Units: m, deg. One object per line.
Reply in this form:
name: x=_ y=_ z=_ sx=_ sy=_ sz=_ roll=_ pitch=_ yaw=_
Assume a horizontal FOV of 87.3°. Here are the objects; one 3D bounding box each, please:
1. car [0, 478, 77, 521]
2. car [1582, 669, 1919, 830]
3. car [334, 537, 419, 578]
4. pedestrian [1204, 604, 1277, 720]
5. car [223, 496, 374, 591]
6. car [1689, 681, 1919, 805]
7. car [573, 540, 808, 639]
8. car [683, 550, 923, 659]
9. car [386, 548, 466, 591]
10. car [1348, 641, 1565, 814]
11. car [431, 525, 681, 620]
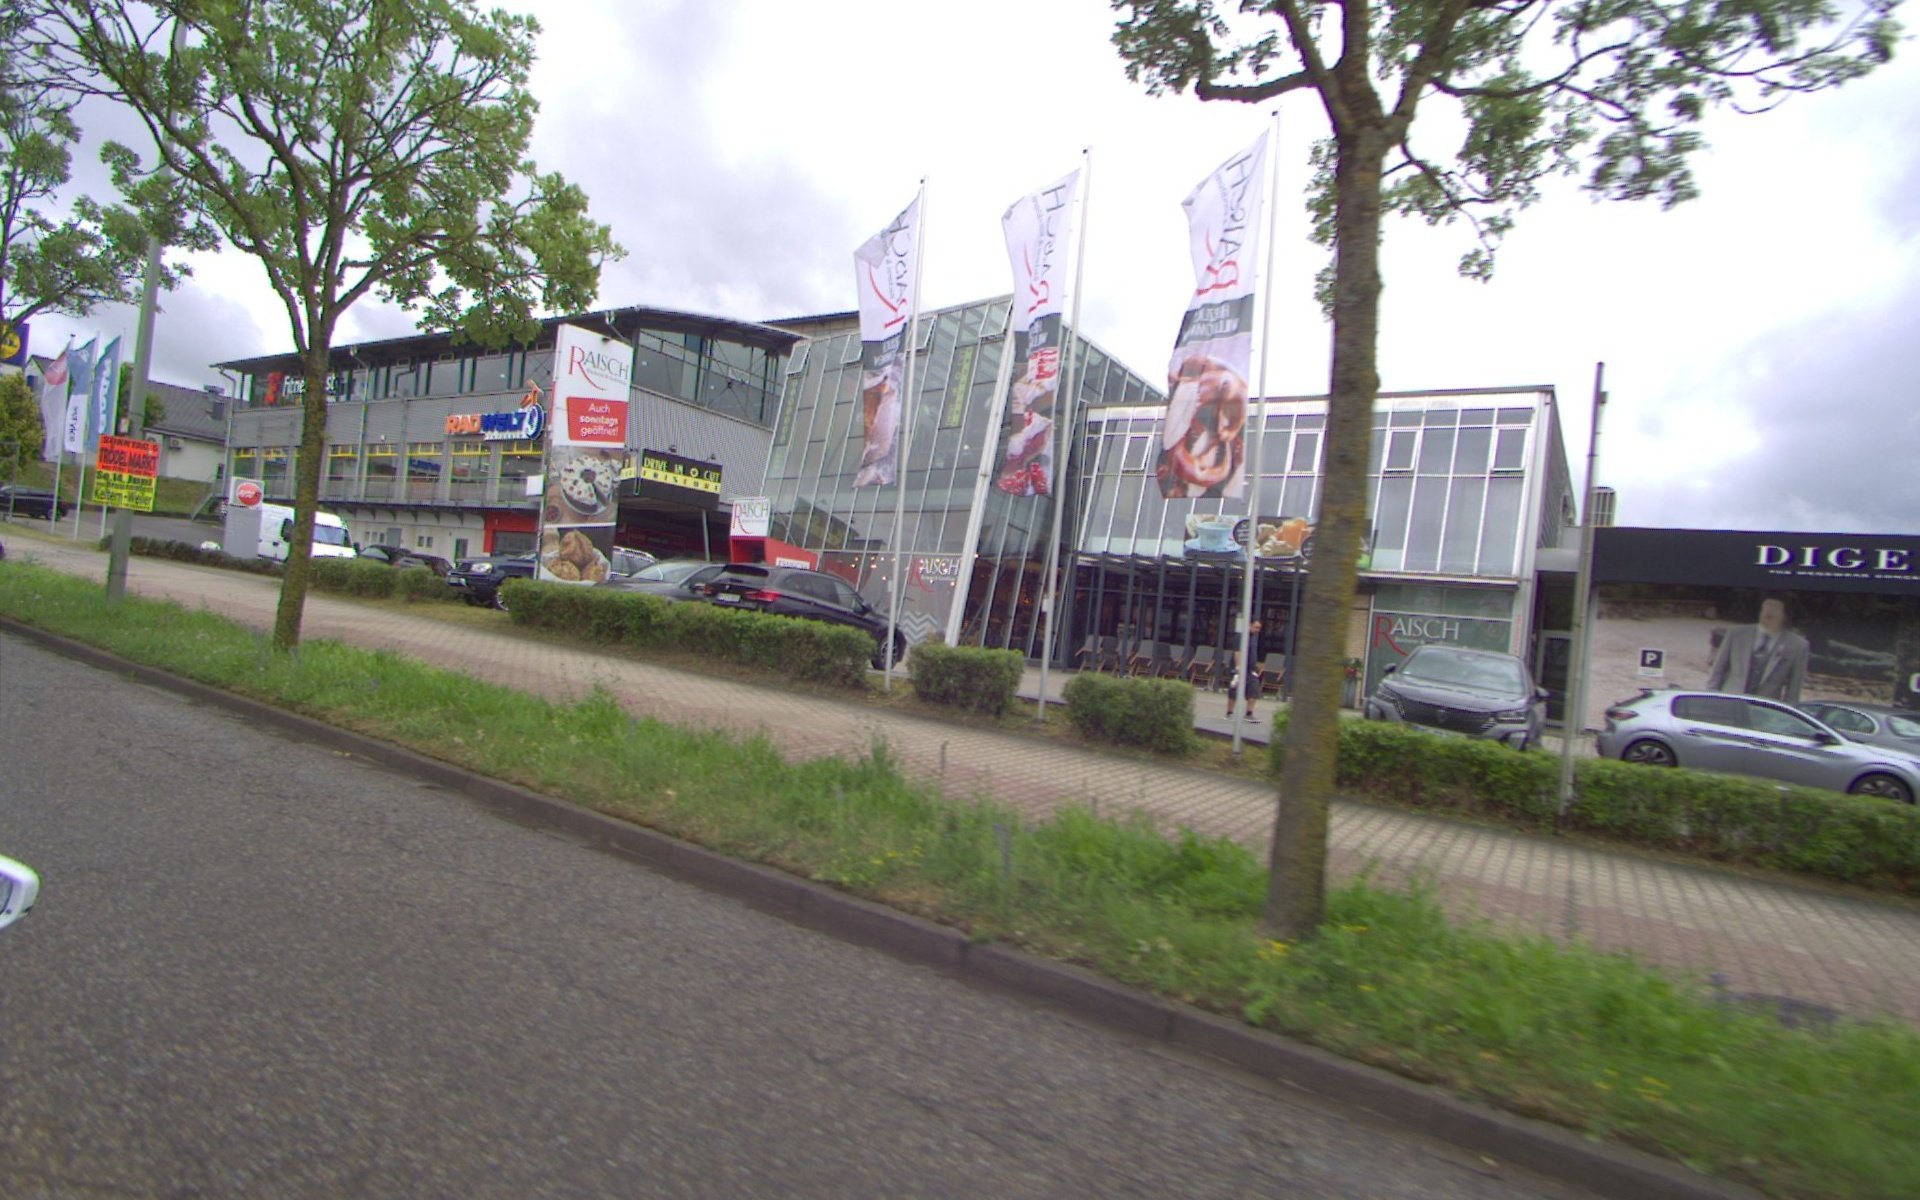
car: x=-43.362 y=-4.724 z=45.956 sx=1.764 sy=1.456 sz=4.104 roll=9 pitch=0 yaw=20
car: x=11.452 y=2.054 z=14.490 sx=4.056 sy=1.465 sz=1.760 roll=8 pitch=3 yaw=33
car: x=-25.642 y=-1.840 z=44.350 sx=1.711 sy=1.488 sz=4.250 roll=9 pitch=0 yaw=-10
pedestrian: x=4.676 y=1.033 z=16.755 sx=0.837 sy=1.810 sz=0.632 roll=7 pitch=-2 yaw=32
car: x=-23.004 y=-1.990 z=34.920 sx=5.590 sy=2.566 sz=2.230 roll=8 pitch=-1 yaw=35
car: x=15.259 y=2.406 z=17.200 sx=1.768 sy=1.415 sz=4.487 roll=4 pitch=2 yaw=-9
car: x=-5.158 y=-0.148 z=19.749 sx=1.799 sy=1.622 sz=4.165 roll=7 pitch=2 yaw=36
car: x=-2.697 y=0.119 z=18.124 sx=1.772 sy=1.622 sz=4.165 roll=7 pitch=2 yaw=36
car: x=-22.908 y=-1.315 z=43.336 sx=1.756 sy=1.488 sz=4.248 roll=9 pitch=0 yaw=-12
car: x=6.174 y=1.359 z=12.248 sx=1.832 sy=1.492 sz=4.169 roll=7 pitch=2 yaw=32
car: x=-8.697 y=-0.549 z=21.981 sx=1.900 sy=1.622 sz=4.642 roll=7 pitch=2 yaw=43
